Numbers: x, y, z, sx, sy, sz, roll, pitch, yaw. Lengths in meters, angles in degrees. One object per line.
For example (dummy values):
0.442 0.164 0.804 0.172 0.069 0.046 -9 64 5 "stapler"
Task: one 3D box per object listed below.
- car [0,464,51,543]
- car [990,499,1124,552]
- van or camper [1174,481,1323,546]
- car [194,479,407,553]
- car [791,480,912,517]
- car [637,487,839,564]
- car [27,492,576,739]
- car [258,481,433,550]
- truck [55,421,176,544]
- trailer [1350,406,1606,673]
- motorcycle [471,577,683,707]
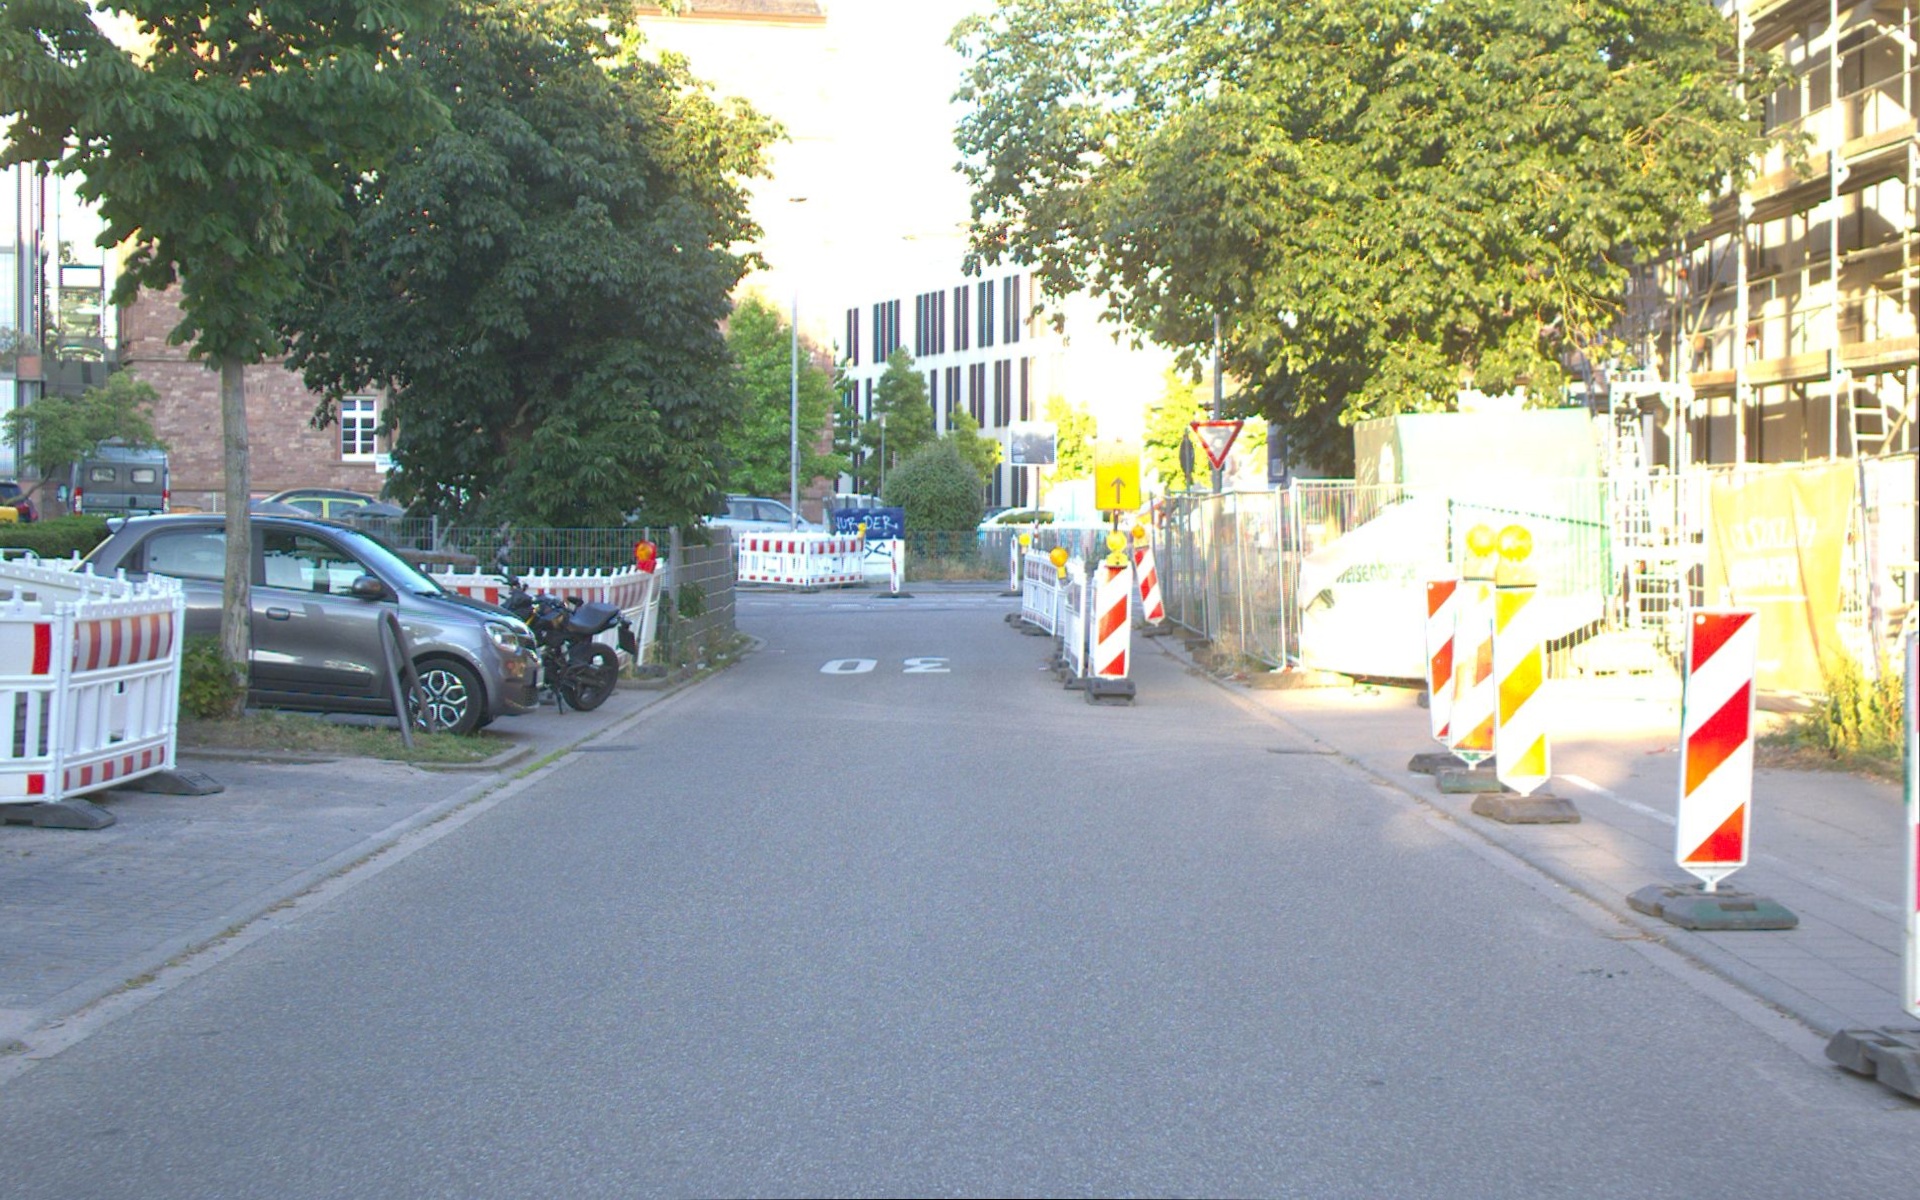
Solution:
-21.010 -2.110 74.929 1.993 1.686 4.001 0 2 -19 "car"
2.966 -2.266 105.054 3.739 1.597 1.687 0 1 -21 "car"
10.113 -3.024 120.383 4.961 2.233 1.687 0 1 -21 "van or camper"
-14.880 -1.909 77.551 4.582 1.632 1.576 -1 2 -16 "car"
-3.910 -3.650 123.997 3.986 1.308 1.878 0 2 -18 "car"
-5.026 -1.699 77.757 4.268 1.703 1.703 -1 2 -18 "car"
-4.752 0.091 25.161 3.623 1.551 1.693 3 1 0 "car"
-13.496 -1.857 75.418 3.630 1.498 1.638 -1 2 -16 "car"
-18.594 -2.569 75.584 2.333 2.608 4.975 0 2 -17 "truck"
5.145 -0.634 34.675 1.993 2.531 4.186 0 2 1 "trailer"
-3.182 0.342 28.790 0.538 1.017 2.208 4 2 29 "motorcycle"
